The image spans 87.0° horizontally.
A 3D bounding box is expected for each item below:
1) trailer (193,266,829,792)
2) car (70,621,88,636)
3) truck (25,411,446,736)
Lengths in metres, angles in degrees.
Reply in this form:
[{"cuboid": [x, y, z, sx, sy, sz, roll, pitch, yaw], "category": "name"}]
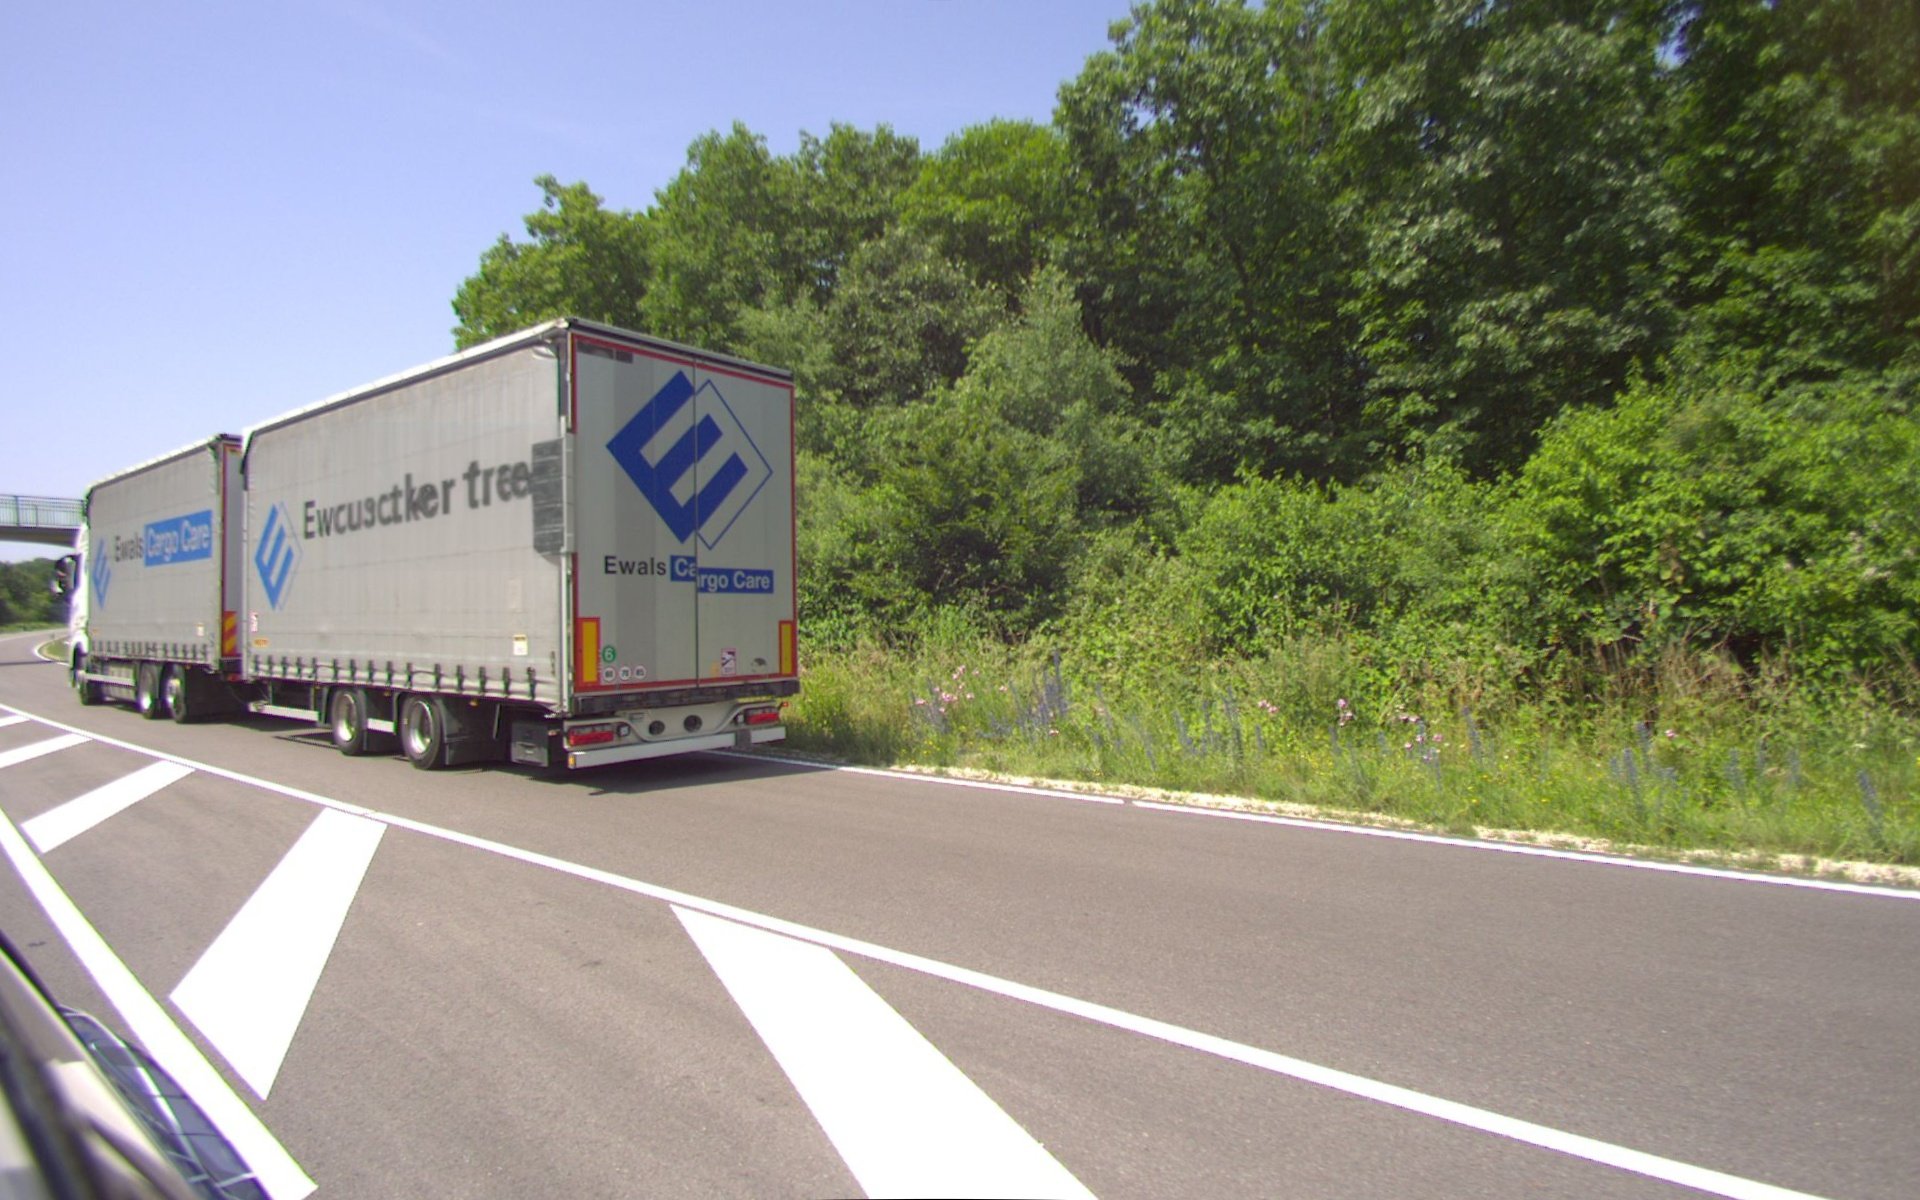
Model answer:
[{"cuboid": [-5.752, -0.458, 11.801, 8.986, 4.127, 2.802, -2, -1, 38], "category": "trailer"}, {"cuboid": [-130.211, 4.198, 149.610, 1.946, 2.047, 5.406, 0, -1, -41], "category": "car"}, {"cuboid": [-12.892, -0.209, 17.350, 11.045, 4.127, 2.772, -2, -1, 38], "category": "truck"}]
